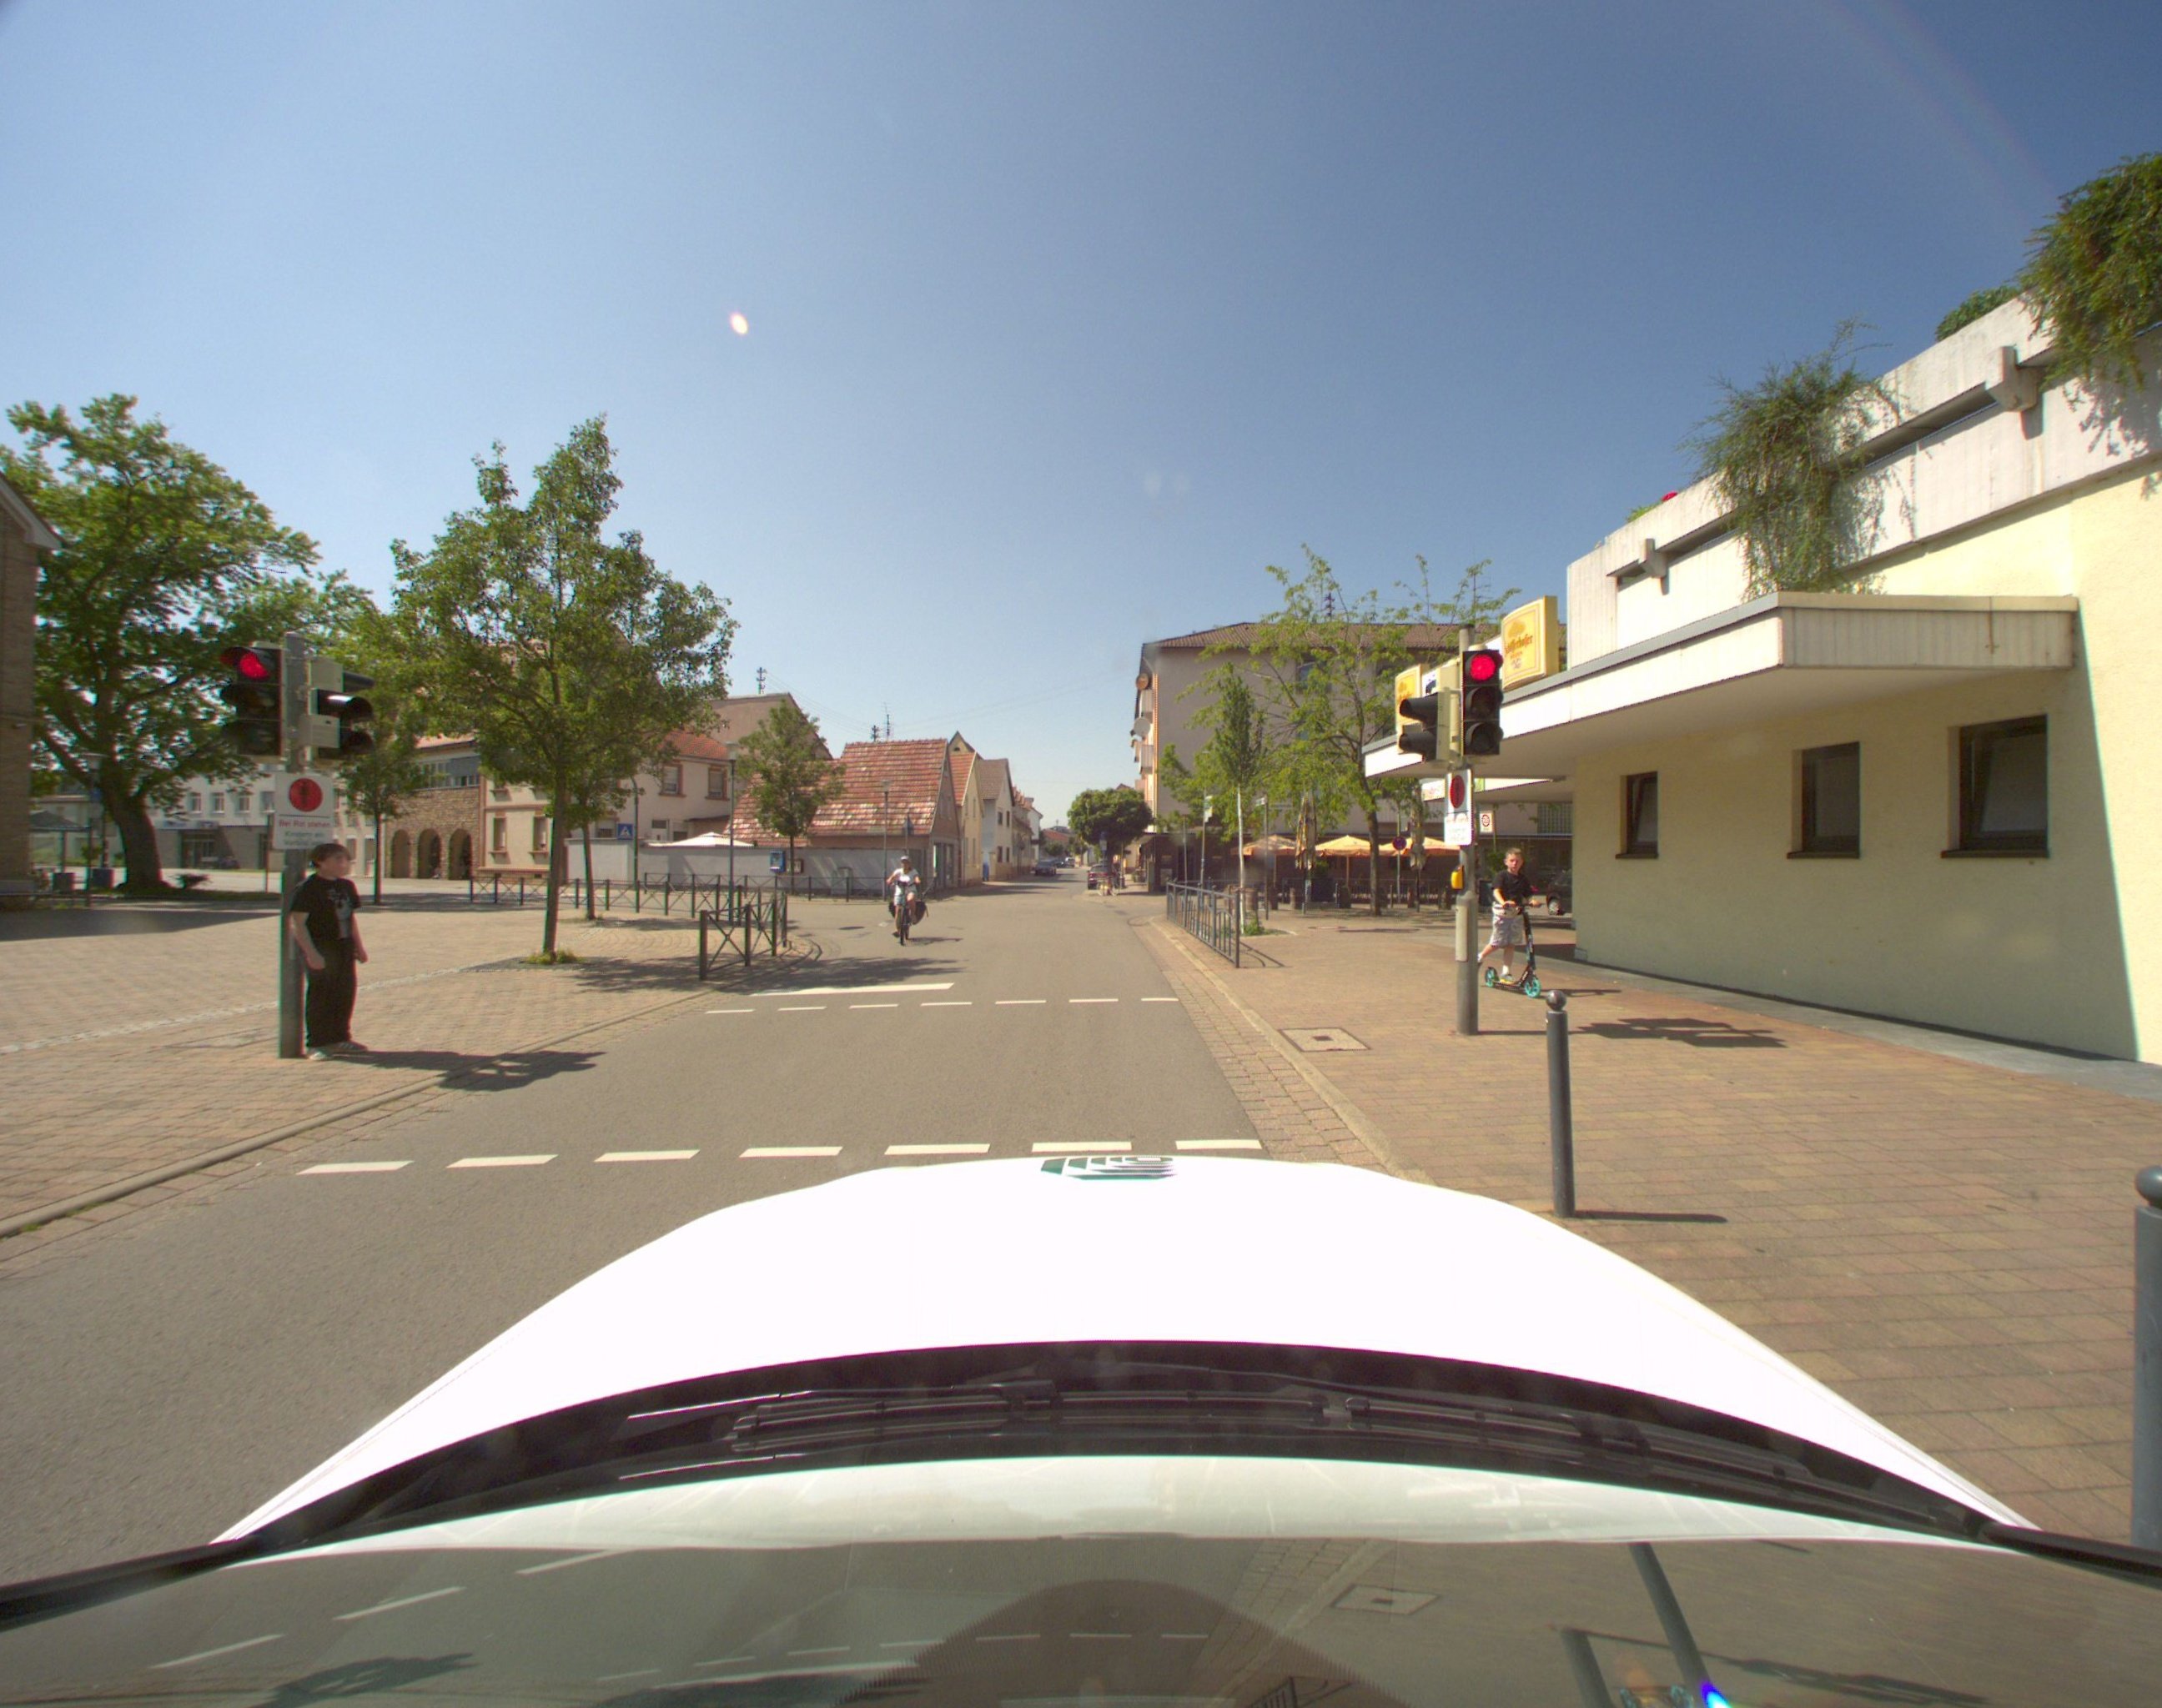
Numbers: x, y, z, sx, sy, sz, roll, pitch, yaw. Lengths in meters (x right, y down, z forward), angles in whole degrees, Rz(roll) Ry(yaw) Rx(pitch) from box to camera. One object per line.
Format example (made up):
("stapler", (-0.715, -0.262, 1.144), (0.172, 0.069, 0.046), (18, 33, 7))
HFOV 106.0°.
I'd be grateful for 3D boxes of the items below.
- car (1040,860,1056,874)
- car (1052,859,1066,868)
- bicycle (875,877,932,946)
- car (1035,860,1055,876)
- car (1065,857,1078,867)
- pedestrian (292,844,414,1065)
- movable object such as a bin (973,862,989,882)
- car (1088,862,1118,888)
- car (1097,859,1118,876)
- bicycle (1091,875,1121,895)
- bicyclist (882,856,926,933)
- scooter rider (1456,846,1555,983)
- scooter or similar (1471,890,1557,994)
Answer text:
("car", (-3.452, 1.325, 85.007), (1.659, 1.476, 3.448), (0, -1, -2))
("car", (-3.660, 1.620, 136.380), (1.907, 1.481, 4.831), (0, -1, -7))
("bicycle", (-3.554, 1.122, 16.473), (0.706, 1.252, 1.971), (-3, -1, -2))
("car", (-3.435, 1.304, 78.448), (1.657, 1.476, 4.135), (0, -1, 1))
("car", (-1.718, 1.417, 141.514), (2.023, 1.598, 4.502), (0, -1, -4))
("pedestrian", (-5.681, 0.745, 6.366), (0.543, 1.619, 0.561), (-1, -2, 35))
("movable object such as a bin", (-7.011, 1.257, 57.098), (1.096, 1.366, 0.390), (0, -1, 5))
("car", (1.304, 1.189, 47.310), (1.569, 1.454, 3.489), (0, -1, 4))
("car", (2.666, 1.322, 81.168), (2.035, 1.689, 4.843), (0, -1, 2))
("bicycle", (1.194, 1.475, 38.681), (1.396, 0.897, 0.468), (-2, 0, 38))
("bicyclist", (-3.554, 0.795, 16.436), (0.712, 1.506, 0.870), (0, -1, -2))
("scooter rider", (4.370, 0.594, 8.454), (0.460, 1.325, 1.134), (0, -1, 2))
("scooter or similar", (4.417, 0.876, 8.353), (0.409, 0.965, 0.961), (0, -1, 3))
